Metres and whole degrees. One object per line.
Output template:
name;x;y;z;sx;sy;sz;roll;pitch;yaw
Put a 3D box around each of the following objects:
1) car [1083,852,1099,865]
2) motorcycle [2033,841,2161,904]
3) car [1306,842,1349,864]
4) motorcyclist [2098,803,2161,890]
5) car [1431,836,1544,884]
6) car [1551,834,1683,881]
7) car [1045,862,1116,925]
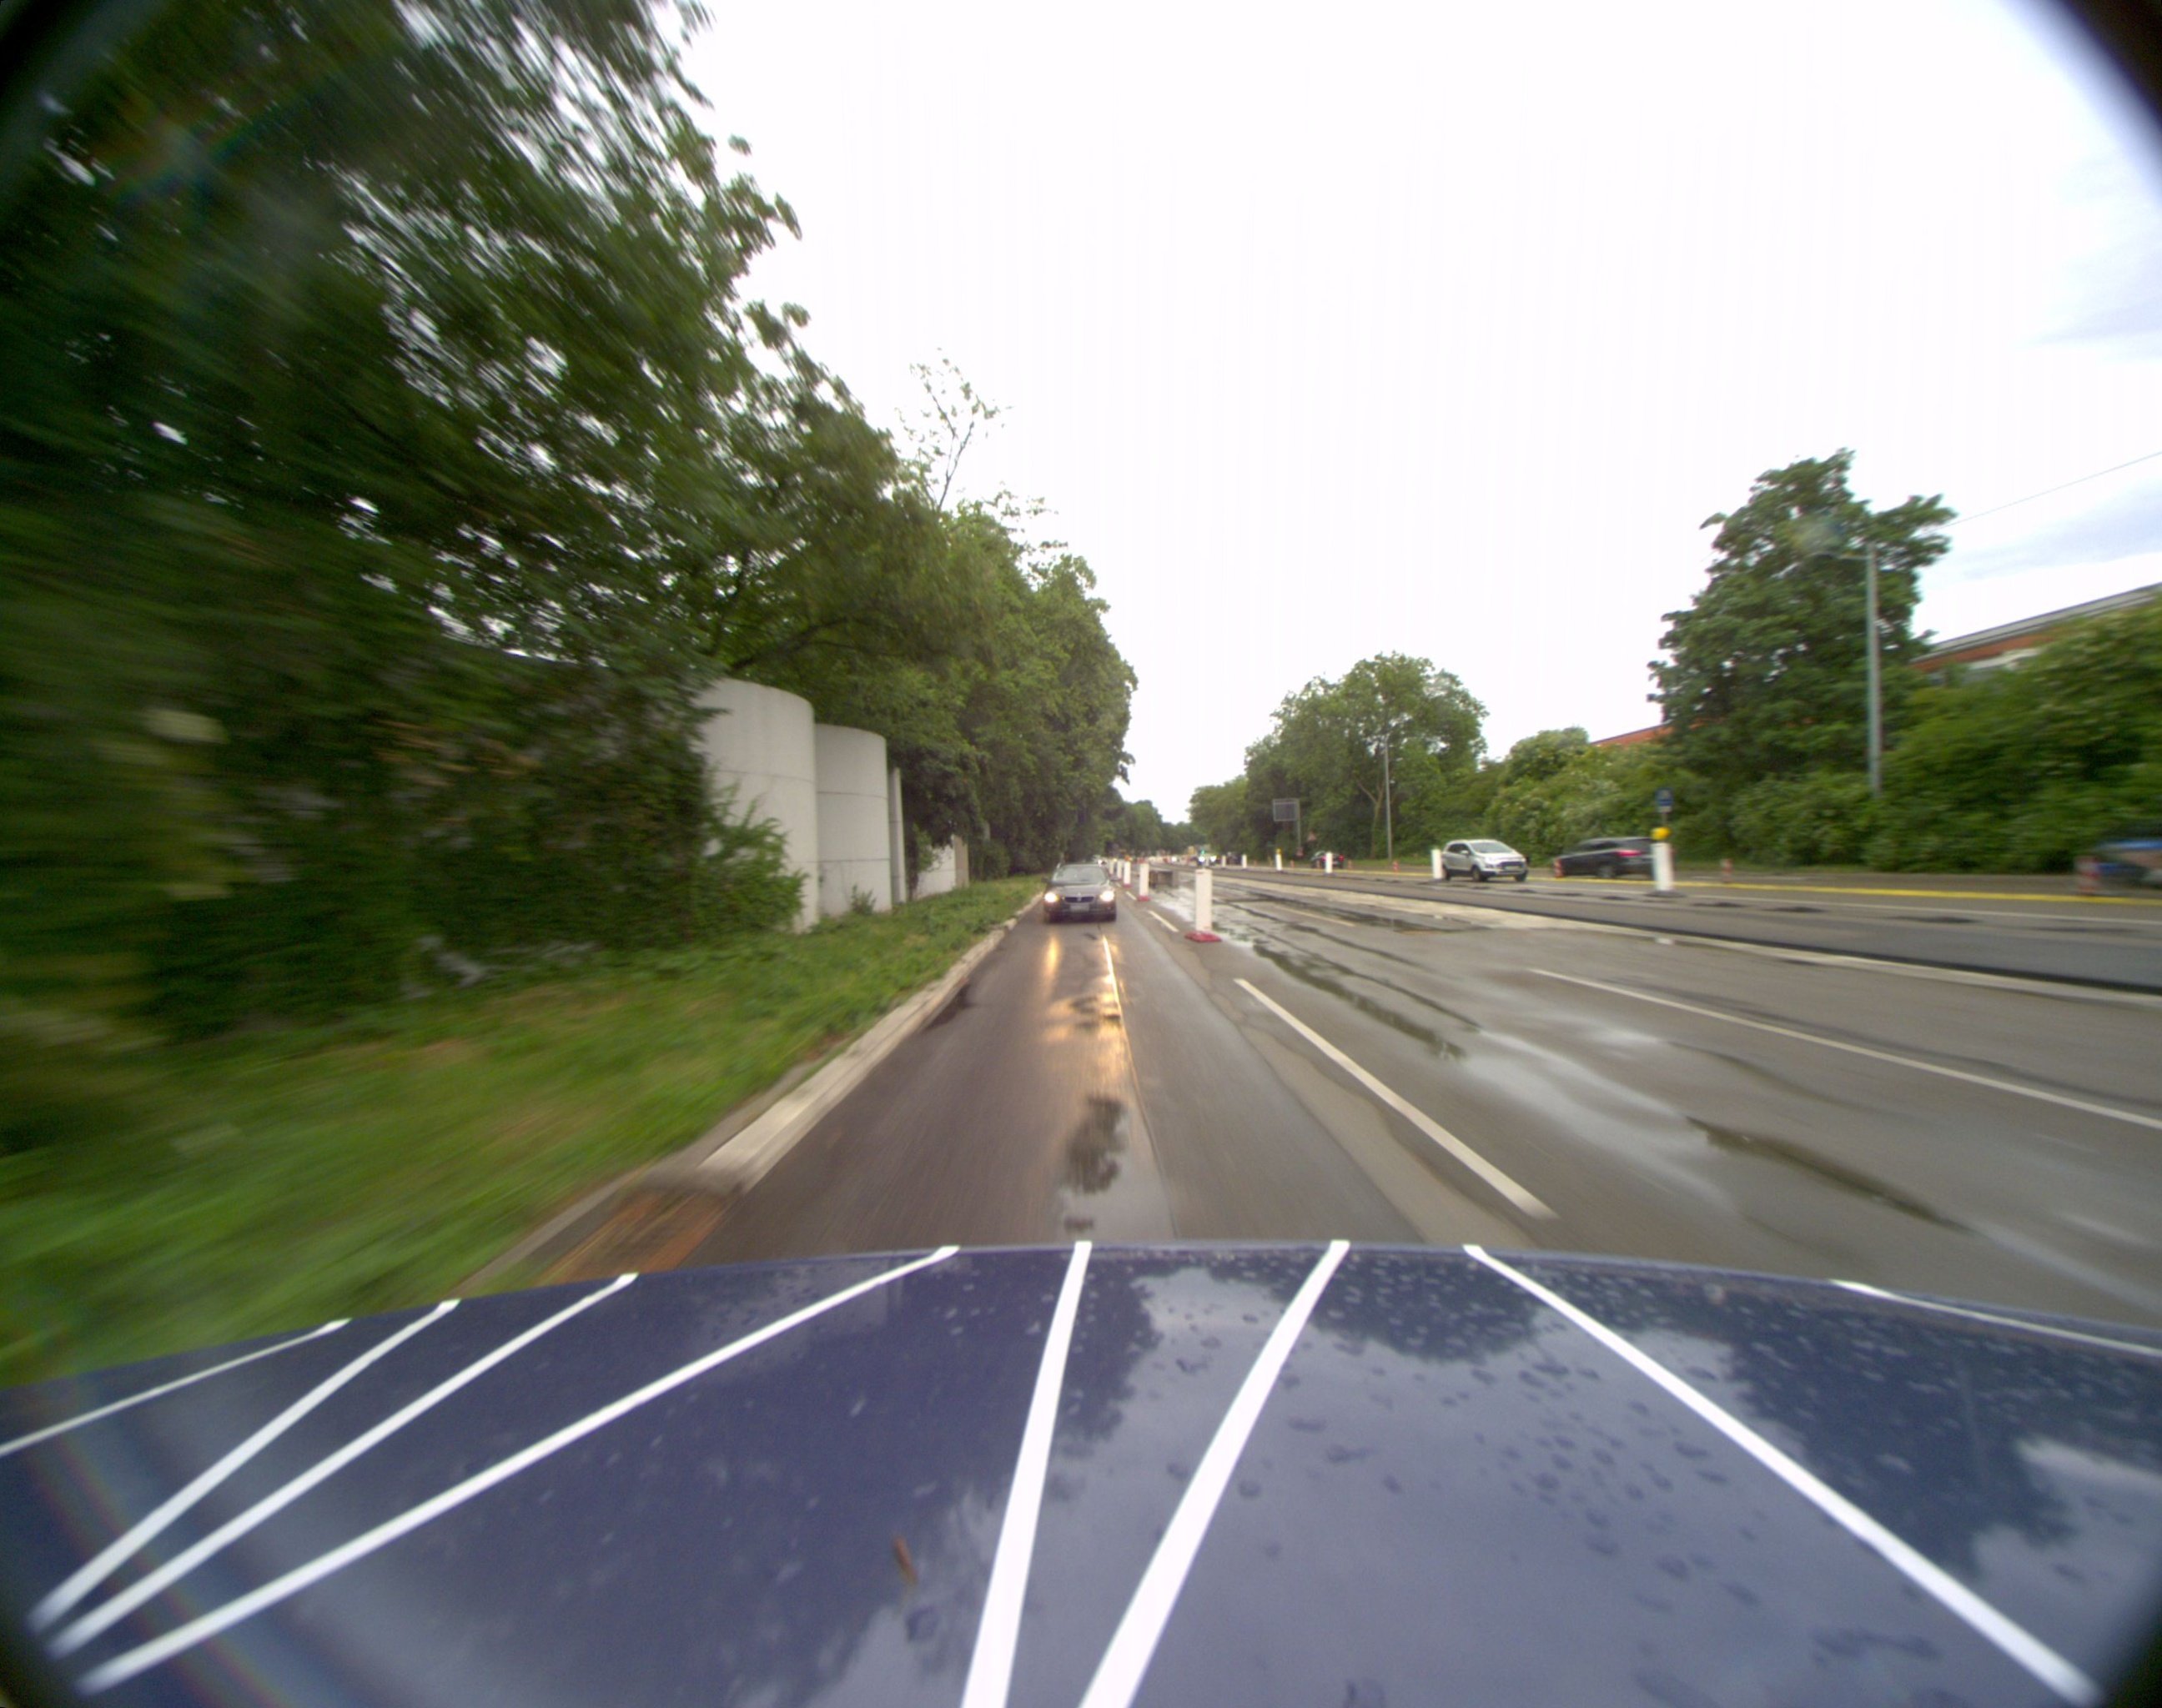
car;1.332;0.581;99.356;1.998;1.707;4.001;-2;0;3
motorcycle;17.998;0.302;12.738;0.810;0.983;2.593;-4;0;1
car;19.187;-0.086;59.380;1.893;1.543;4.398;-3;0;1
motorcyclist;17.980;-0.145;12.616;0.816;1.402;0.975;-4;0;1
car;15.242;0.223;28.794;1.893;1.555;4.364;-4;0;1
car;18.497;0.118;26.490;1.691;1.434;4.108;-3;0;1
car;0.013;0.957;19.901;1.658;1.409;4.129;-1;0;1
